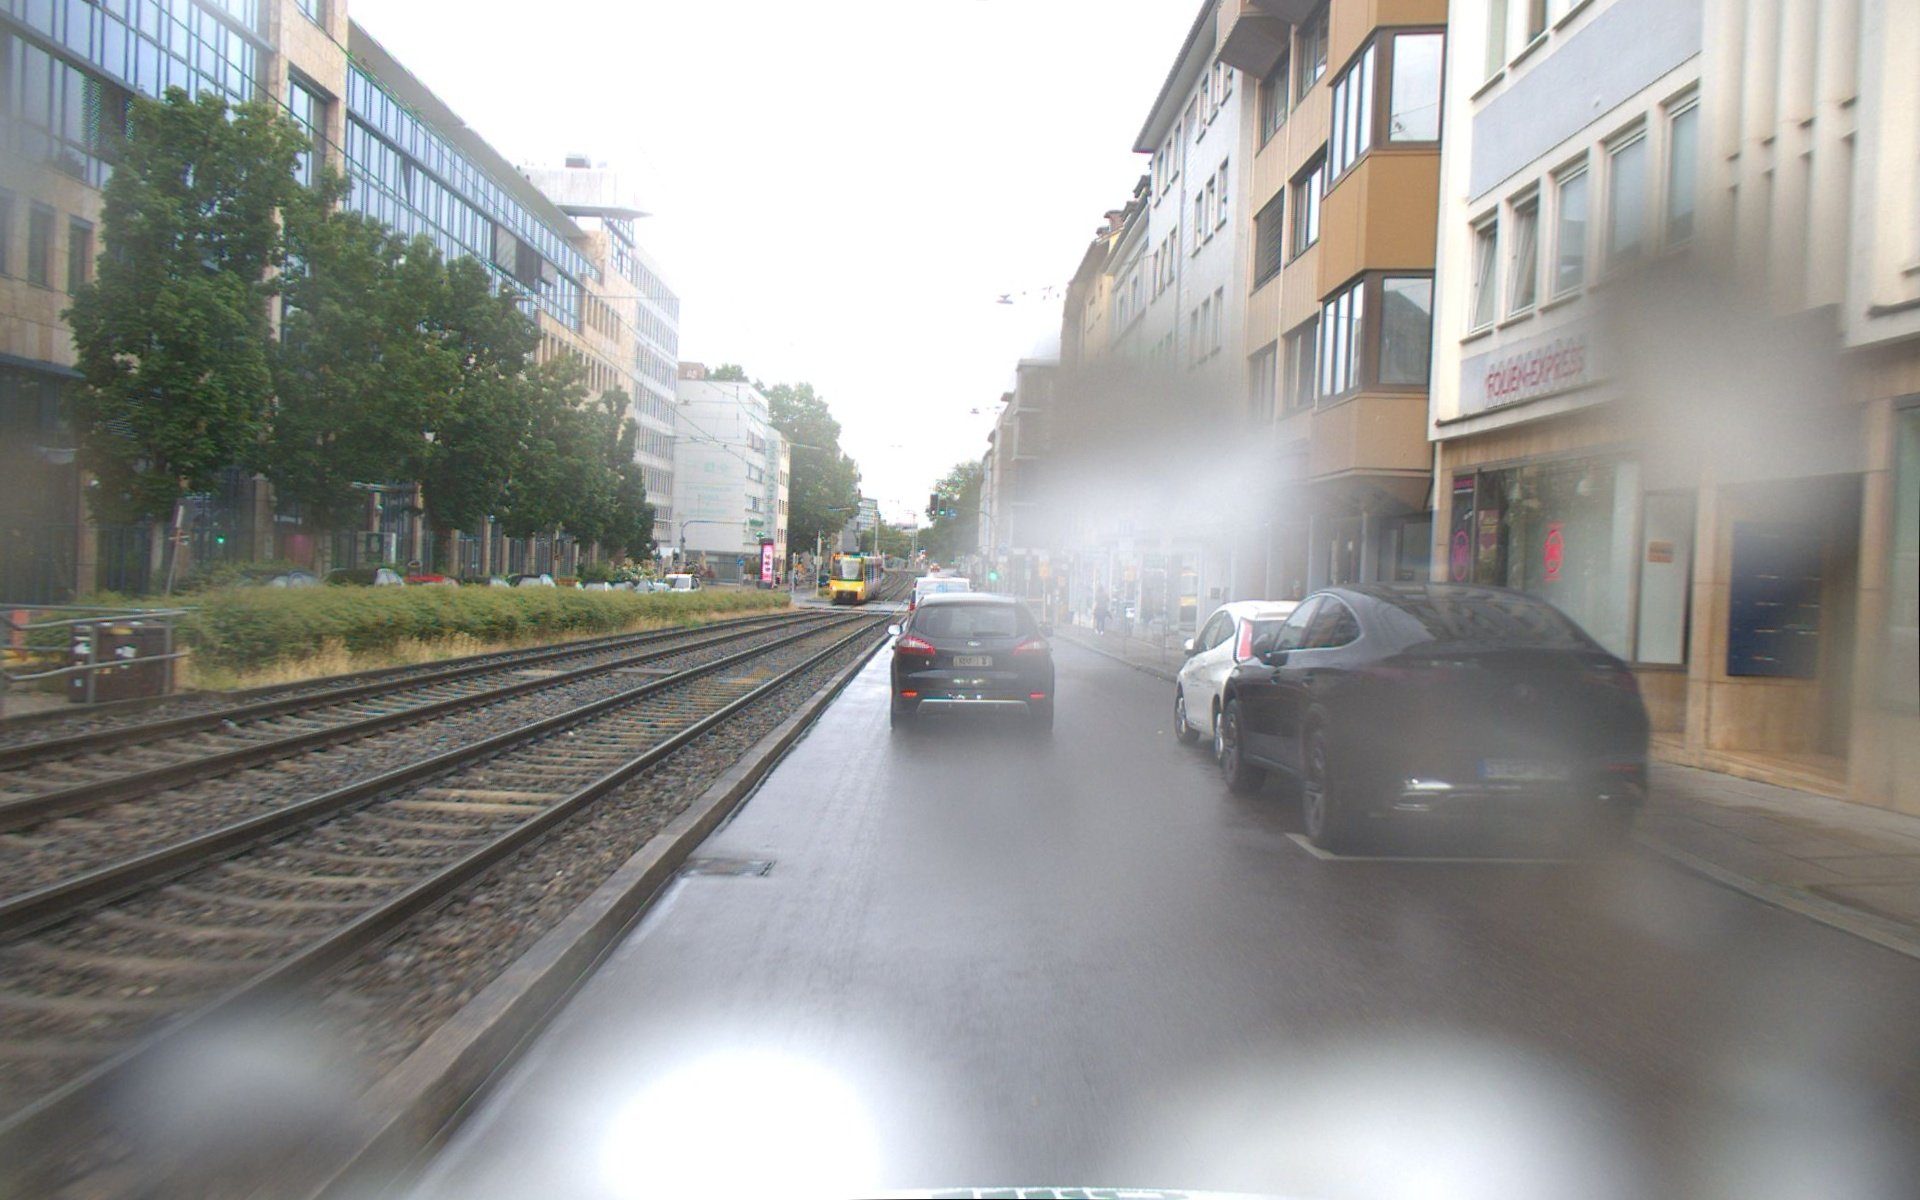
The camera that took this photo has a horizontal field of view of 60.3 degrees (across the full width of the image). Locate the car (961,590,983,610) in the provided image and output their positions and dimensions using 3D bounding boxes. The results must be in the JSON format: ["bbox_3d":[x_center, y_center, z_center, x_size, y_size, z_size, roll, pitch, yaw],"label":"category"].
[{"bbox_3d":[1.052,0.018,144.952,1.867,1.662,4.573,2,0,0],"label":"car"}]

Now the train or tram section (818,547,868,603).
[{"bbox_3d":[-8.560,-1.759,121.686,3.443,3.843,11.324,1,0,-3],"label":"train or tram section"}]

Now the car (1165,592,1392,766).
[{"bbox_3d":[3.040,0.690,16.418,1.525,1.502,3.565,1,0,0],"label":"car"}]

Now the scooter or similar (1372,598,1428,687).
[{"bbox_3d":[5.717,0.536,21.508,0.205,1.102,1.231,1,0,-9],"label":"scooter or similar"}]

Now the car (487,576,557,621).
[{"bbox_3d":[-15.056,-0.070,57.061,1.537,1.461,4.174,1,0,-4],"label":"car"}]

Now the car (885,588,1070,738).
[{"bbox_3d":[0.168,0.662,18.734,1.868,1.488,3.444,2,0,-1],"label":"car"}]

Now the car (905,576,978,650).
[{"bbox_3d":[-0.451,0.348,45.766,1.867,1.897,4.574,2,0,1],"label":"car"}]

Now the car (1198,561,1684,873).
[{"bbox_3d":[2.995,0.630,11.582,1.771,1.660,5.168,1,0,-1],"label":"car"}]

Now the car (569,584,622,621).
[{"bbox_3d":[-15.119,0.093,68.759,1.537,1.461,4.174,1,0,-4],"label":"car"}]

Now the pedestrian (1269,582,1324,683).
[{"bbox_3d":[5.705,0.540,28.044,0.681,1.681,0.965,1,0,-2],"label":"pedestrian"}]

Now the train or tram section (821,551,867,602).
[{"bbox_3d":[-9.236,-1.805,132.998,3.468,3.843,11.324,1,0,-3],"label":"train or tram section"}]

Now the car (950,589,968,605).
[{"bbox_3d":[-0.136,-0.277,176.630,1.867,1.662,4.573,2,0,0],"label":"car"}]

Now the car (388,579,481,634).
[{"bbox_3d":[-14.896,0.160,47.070,1.537,1.461,4.174,1,0,-4],"label":"car"}]

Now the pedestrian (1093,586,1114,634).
[{"bbox_3d":[4.765,0.336,55.081,0.599,1.564,0.648,1,0,-2],"label":"pedestrian"}]

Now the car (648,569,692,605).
[{"bbox_3d":[-16.116,-0.690,92.061,1.869,1.897,4.570,2,0,-4],"label":"car"}]

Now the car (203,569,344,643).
[{"bbox_3d":[-14.737,0.113,35.726,1.537,1.461,4.174,1,0,-4],"label":"car"}]

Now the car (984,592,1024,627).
[{"bbox_3d":[2.175,0.497,82.983,1.867,1.662,4.573,2,0,0],"label":"car"}]
